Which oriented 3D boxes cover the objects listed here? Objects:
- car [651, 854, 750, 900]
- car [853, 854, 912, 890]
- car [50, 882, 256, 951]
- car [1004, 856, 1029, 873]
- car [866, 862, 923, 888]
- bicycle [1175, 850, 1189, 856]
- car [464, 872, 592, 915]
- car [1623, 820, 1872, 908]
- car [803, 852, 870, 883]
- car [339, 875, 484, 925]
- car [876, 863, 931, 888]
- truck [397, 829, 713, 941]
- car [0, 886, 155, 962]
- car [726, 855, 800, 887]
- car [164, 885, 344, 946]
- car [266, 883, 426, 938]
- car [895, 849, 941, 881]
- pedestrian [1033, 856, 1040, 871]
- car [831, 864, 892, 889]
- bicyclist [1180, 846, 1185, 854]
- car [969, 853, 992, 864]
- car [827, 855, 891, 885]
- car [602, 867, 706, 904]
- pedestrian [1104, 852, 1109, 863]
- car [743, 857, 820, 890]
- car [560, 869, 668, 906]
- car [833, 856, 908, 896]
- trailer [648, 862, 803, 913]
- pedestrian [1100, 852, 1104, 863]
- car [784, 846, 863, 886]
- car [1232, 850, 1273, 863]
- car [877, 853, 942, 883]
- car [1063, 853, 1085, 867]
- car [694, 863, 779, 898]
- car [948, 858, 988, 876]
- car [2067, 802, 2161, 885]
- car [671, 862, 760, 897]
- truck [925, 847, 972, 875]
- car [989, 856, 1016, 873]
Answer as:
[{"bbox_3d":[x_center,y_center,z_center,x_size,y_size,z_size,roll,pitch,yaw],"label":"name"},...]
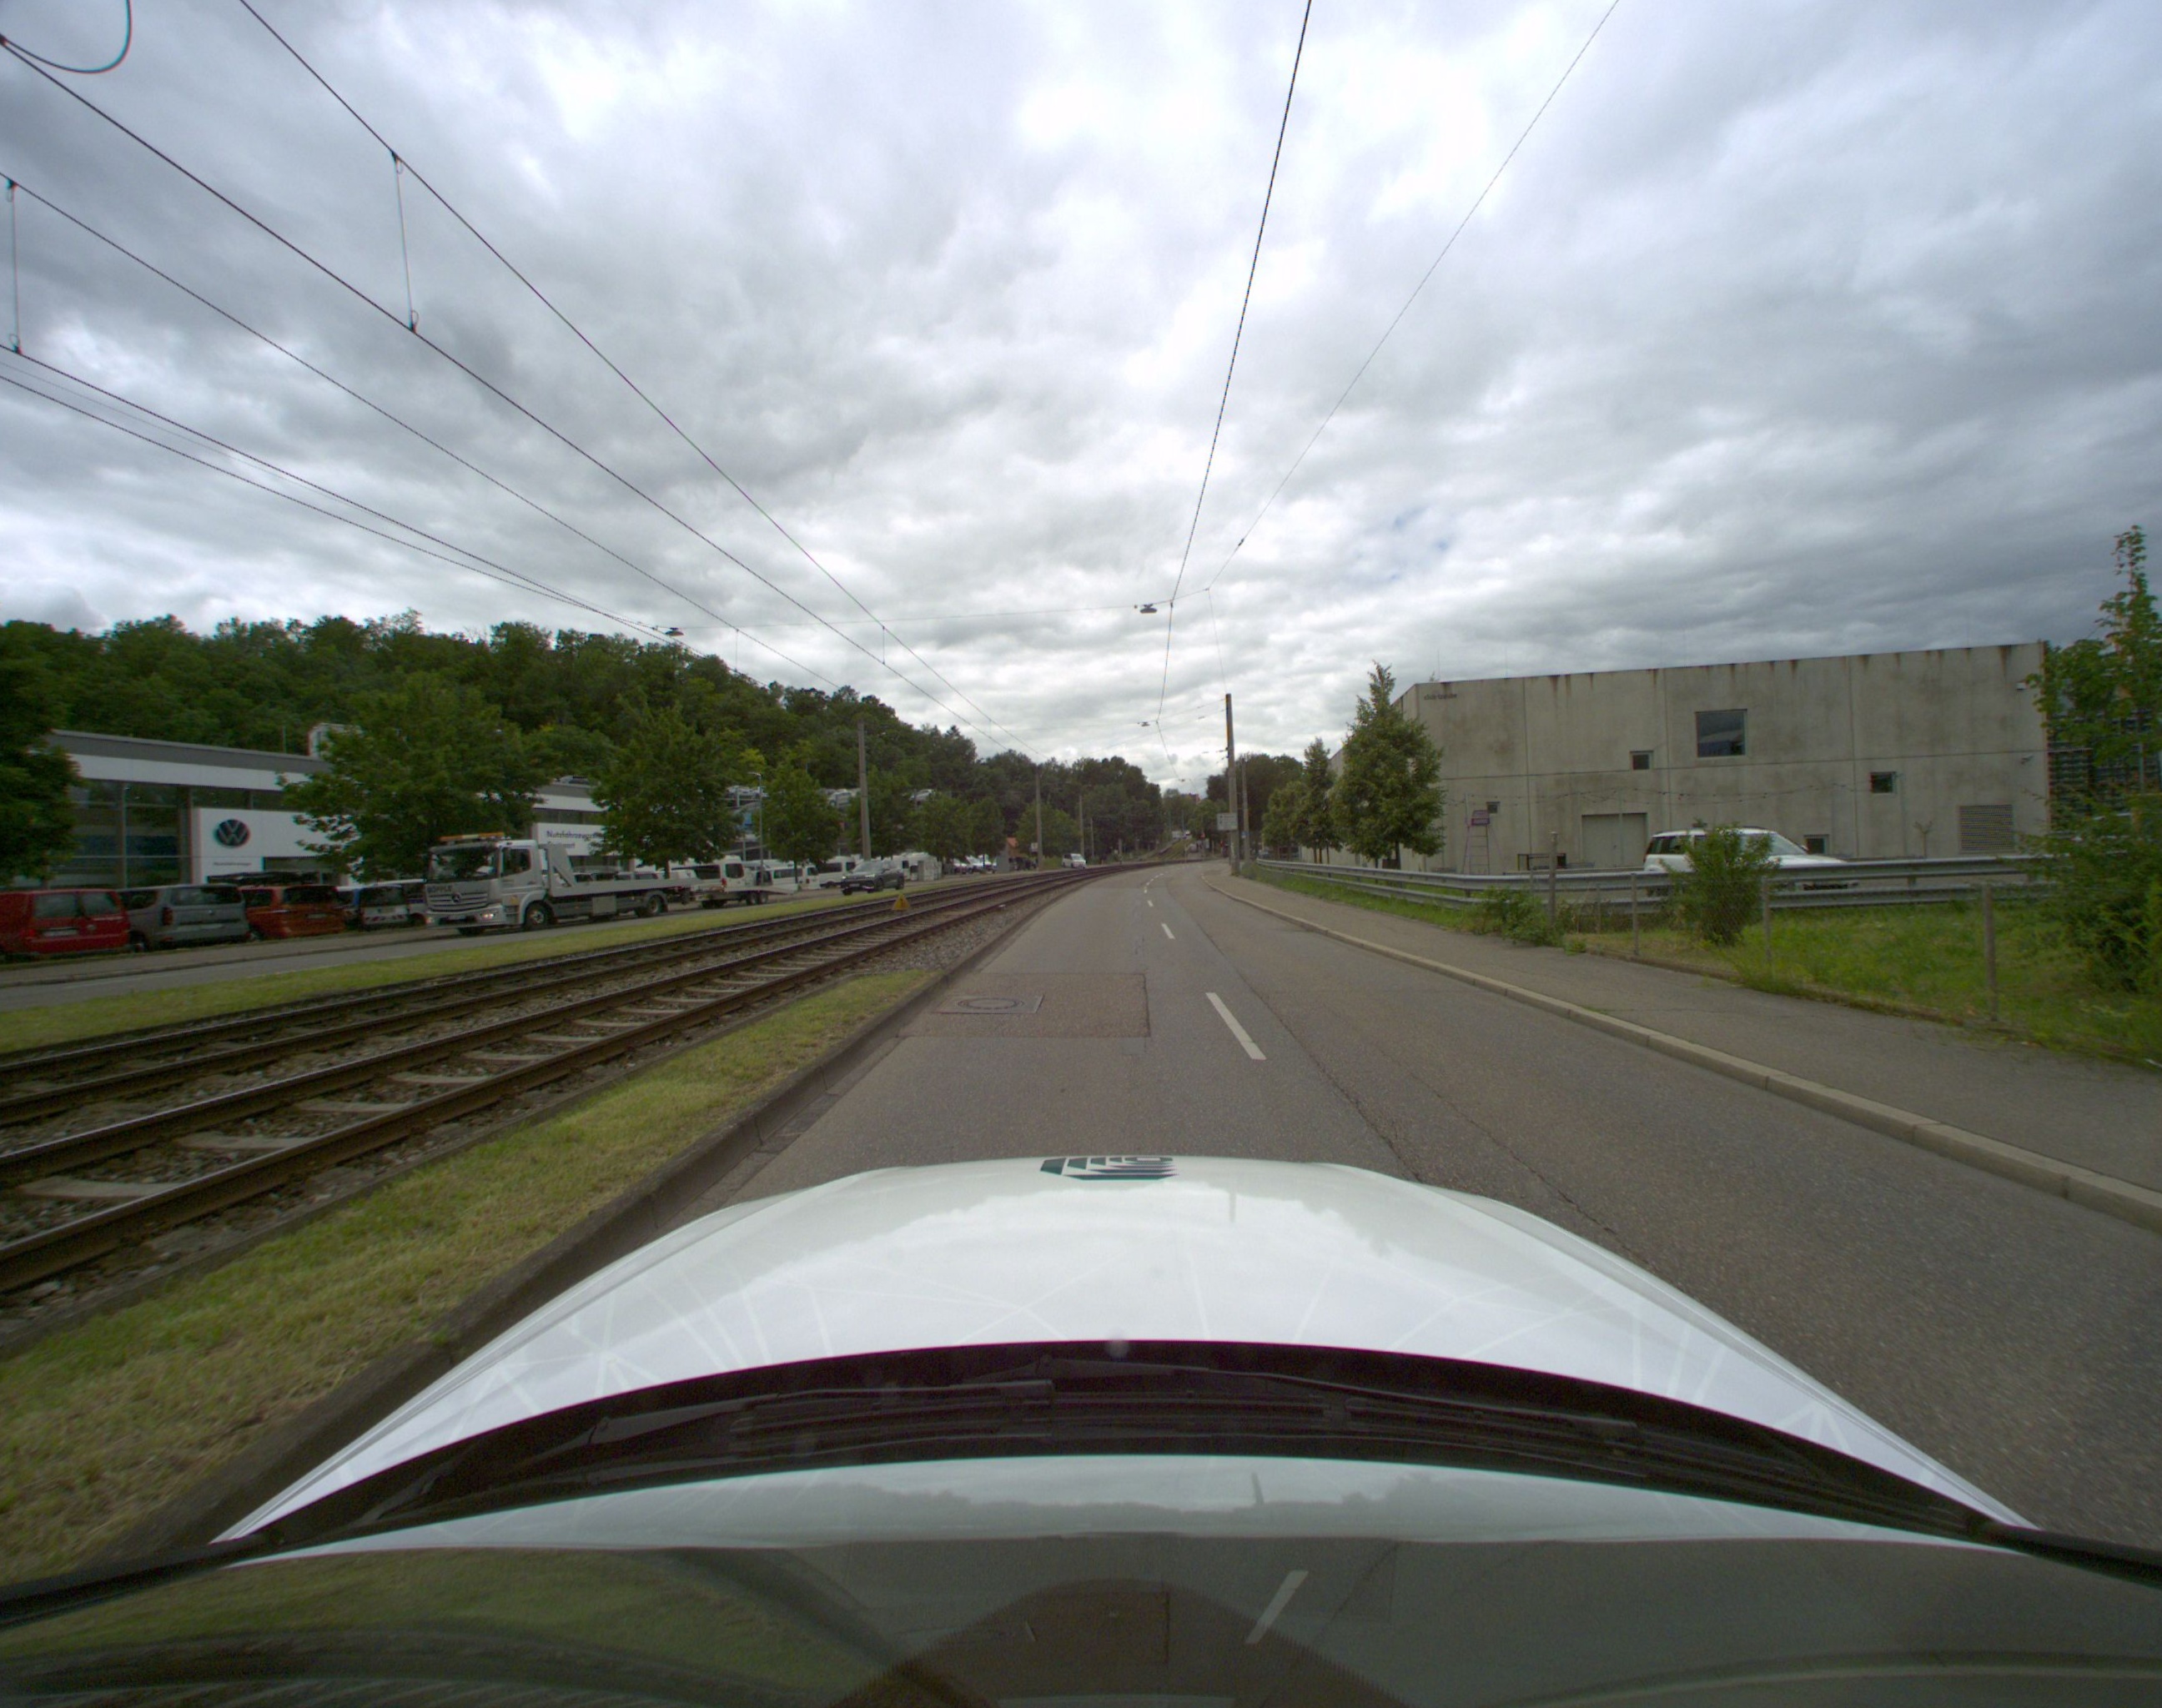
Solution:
[{"bbox_3d":[-20.894,1.247,44.798,4.466,2.311,2.133,-2,0,12],"label":"car"},{"bbox_3d":[-16.785,1.498,69.054,4.341,2.819,2.008,-2,0,7],"label":"car"},{"bbox_3d":[-25.499,1.700,22.441,3.959,1.664,2.055,-2,0,13],"label":"car"},{"bbox_3d":[-8.610,1.379,108.382,1.981,2.013,5.145,-2,0,10],"label":"car"},{"bbox_3d":[-16.331,1.849,71.255,4.341,2.105,2.008,-2,0,7],"label":"car"},{"bbox_3d":[23.877,-0.286,192.626,2.982,1.343,0.825,-2,-1,-6],"label":"bicycle"},{"bbox_3d":[-23.480,1.668,34.625,4.335,1.618,2.011,-2,0,13],"label":"car"},{"bbox_3d":[13.403,0.154,16.800,1.742,1.574,4.435,0,0,4],"label":"car"},{"bbox_3d":[-18.426,0.986,61.494,4.341,2.173,2.008,-2,0,7],"label":"car"},{"bbox_3d":[-24.256,1.658,29.543,3.959,1.618,2.007,-2,0,13],"label":"car"},{"bbox_3d":[-16.134,1.891,74.056,4.341,2.105,2.008,1,0,8],"label":"car"},{"bbox_3d":[-15.775,0.801,25.732,2.740,2.741,9.242,-4,-1,9],"label":"truck"},{"bbox_3d":[-25.509,1.686,19.870,4.149,1.618,2.070,-2,0,13],"label":"car"},{"bbox_3d":[-28.549,1.479,73.308,5.950,2.602,1.992,-2,0,-18],"label":"car"},{"bbox_3d":[-25.125,1.853,24.791,3.959,1.618,2.007,-2,0,13],"label":"car"},{"bbox_3d":[-24.523,1.857,27.228,3.959,1.618,2.007,-2,0,13],"label":"car"},{"bbox_3d":[-16.384,1.095,82.087,2.093,3.019,5.959,-2,0,14],"label":"car"},{"bbox_3d":[-5.172,1.115,95.245,0.714,1.655,1.044,0,0,4],"label":"pedestrian"},{"bbox_3d":[-17.963,1.825,66.837,4.341,1.910,2.008,-2,0,7],"label":"car"},{"bbox_3d":[24.007,-0.897,192.639,1.047,1.849,0.822,-3,0,-5],"label":"bicyclist"},{"bbox_3d":[-20.348,0.883,165.435,1.975,2.013,4.430,-2,0,43],"label":"car"},{"bbox_3d":[-17.376,1.276,63.899,4.341,2.173,2.008,-2,0,7],"label":"car"},{"bbox_3d":[-22.086,1.611,42.207,4.341,1.689,2.036,-2,0,8],"label":"car"},{"bbox_3d":[4.243,0.549,135.869,0.671,1.813,0.859,0,0,14],"label":"pedestrian"},{"bbox_3d":[-20.118,1.312,54.859,4.341,2.010,2.008,-2,0,7],"label":"car"},{"bbox_3d":[-22.901,1.636,39.997,4.336,1.618,2.011,-2,0,12],"label":"car"},{"bbox_3d":[-10.265,1.051,40.097,1.984,1.739,4.541,-4,-1,5],"label":"car"},{"bbox_3d":[-14.398,1.289,33.714,2.368,1.698,6.966,-4,-1,9],"label":"trailer"},{"bbox_3d":[3.505,0.577,135.912,0.623,1.713,0.859,0,0,14],"label":"pedestrian"},{"bbox_3d":[-18.573,0.851,58.887,4.938,2.698,2.120,-2,0,7],"label":"car"},{"bbox_3d":[19.548,0.271,92.721,4.179,1.443,1.774,-1,1,41],"label":"car"},{"bbox_3d":[-16.220,1.329,76.948,5.436,2.602,2.254,-2,0,11],"label":"car"},{"bbox_3d":[-0.978,0.832,113.413,2.160,1.888,5.053,0,0,-11],"label":"car"},{"bbox_3d":[-20.957,1.611,49.638,4.336,1.947,2.011,-2,0,12],"label":"car"},{"bbox_3d":[-13.749,1.544,98.819,4.669,2.013,2.013,-2,0,39],"label":"car"},{"bbox_3d":[23.325,-0.254,16.241,1.901,1.720,4.697,-2,0,7],"label":"car"},{"bbox_3d":[-21.269,1.483,47.454,4.336,1.845,2.011,-2,0,12],"label":"car"},{"bbox_3d":[-15.803,0.867,96.753,5.862,3.085,2.133,-2,-1,41],"label":"truck"},{"bbox_3d":[-9.792,1.281,102.133,1.981,2.013,4.933,-2,0,10],"label":"car"}]
